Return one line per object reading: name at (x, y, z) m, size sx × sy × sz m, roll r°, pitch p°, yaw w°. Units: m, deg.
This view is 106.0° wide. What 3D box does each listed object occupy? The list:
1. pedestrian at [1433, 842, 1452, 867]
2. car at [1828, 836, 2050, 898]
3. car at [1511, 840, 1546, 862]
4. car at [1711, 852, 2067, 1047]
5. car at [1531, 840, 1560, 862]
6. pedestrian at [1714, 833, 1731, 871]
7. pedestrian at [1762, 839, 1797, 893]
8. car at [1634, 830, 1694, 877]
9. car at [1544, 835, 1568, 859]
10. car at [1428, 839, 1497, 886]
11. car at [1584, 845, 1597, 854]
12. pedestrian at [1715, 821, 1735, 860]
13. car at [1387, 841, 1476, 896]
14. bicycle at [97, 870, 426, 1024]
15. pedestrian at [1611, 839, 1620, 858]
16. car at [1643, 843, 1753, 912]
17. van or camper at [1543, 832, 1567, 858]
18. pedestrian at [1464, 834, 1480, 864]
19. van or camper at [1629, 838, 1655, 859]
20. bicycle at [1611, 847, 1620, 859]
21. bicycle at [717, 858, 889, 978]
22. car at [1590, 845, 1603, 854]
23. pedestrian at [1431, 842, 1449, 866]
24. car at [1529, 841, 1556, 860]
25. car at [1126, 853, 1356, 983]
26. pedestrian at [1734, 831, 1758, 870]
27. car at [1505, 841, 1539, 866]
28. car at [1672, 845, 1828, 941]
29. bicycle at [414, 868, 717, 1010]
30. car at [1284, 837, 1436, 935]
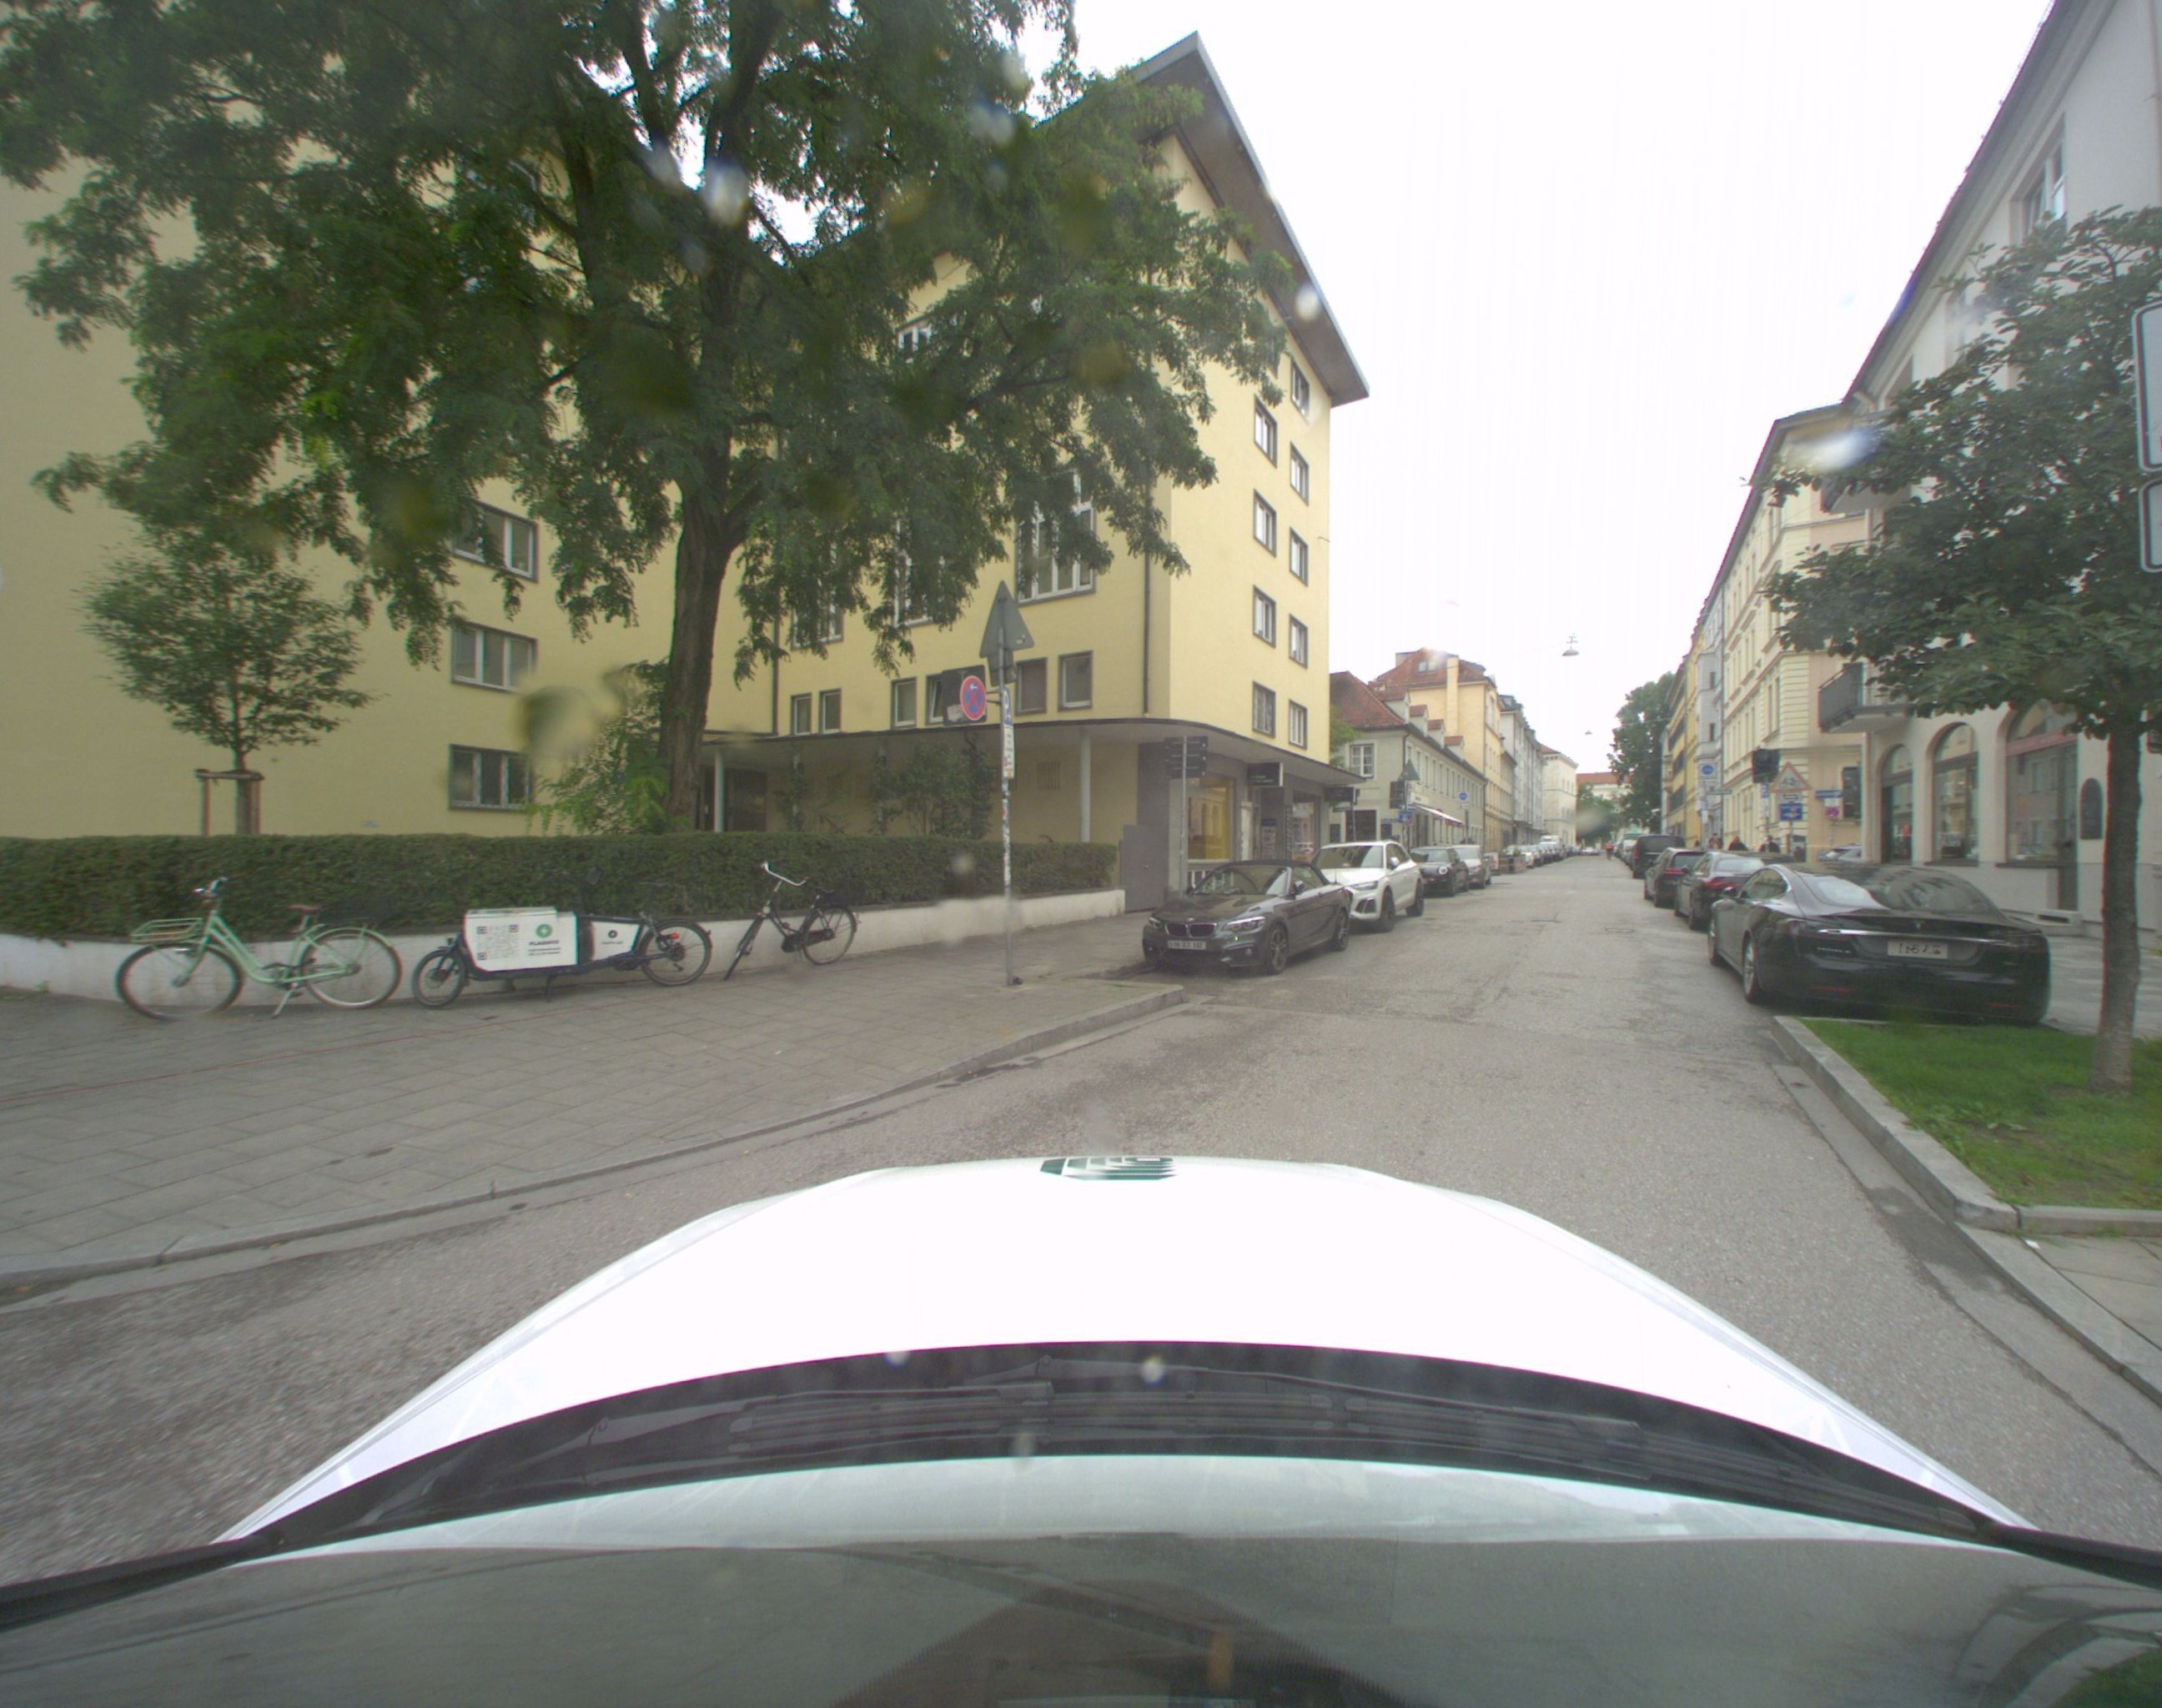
pedestrian at (19.592, 0.032, 44.137) m, size 0.795 × 1.290 × 0.698 m, roll 0°, pitch -1°, yaw 33°
car at (24.335, 0.322, 23.341) m, size 4.049 × 1.605 × 1.766 m, roll 0°, pitch 2°, yaw 31°
car at (29.931, -0.223, 54.382) m, size 1.781 × 1.339 × 4.715 m, roll 1°, pitch 1°, yaw 32°
car at (8.197, 0.739, 8.800) m, size 1.785 × 1.410 × 4.686 m, roll 1°, pitch 2°, yaw 33°
car at (33.650, -0.236, 58.934) m, size 1.738 × 1.496 × 4.227 m, roll 1°, pitch 1°, yaw 30°
pedestrian at (27.840, -0.070, 35.340) m, size 0.467 × 1.625 × 1.076 m, roll 0°, pitch -1°, yaw 32°
pedestrian at (22.954, 0.384, 26.770) m, size 0.712 × 1.717 × 1.010 m, roll 0°, pitch -1°, yaw 32°
car at (25.143, -0.055, 35.251) m, size 1.978 × 1.864 × 5.286 m, roll 1°, pitch 1°, yaw 34°
car at (41.813, -0.616, 71.788) m, size 1.738 × 1.995 × 4.654 m, roll 1°, pitch 1°, yaw 29°
car at (13.229, 0.245, 28.096) m, size 1.663 × 1.471 × 4.981 m, roll -1°, pitch 0°, yaw 30°
car at (87.600, -0.809, 140.045) m, size 1.690 × 1.581 × 3.887 m, roll -1°, pitch 0°, yaw 36°
pedestrian at (33.831, -0.704, 42.803) m, size 0.663 × 1.981 × 0.713 m, roll -4°, pitch -3°, yaw 34°
car at (10.482, 0.375, 24.209) m, size 1.663 × 1.471 × 4.123 m, roll -1°, pitch 0°, yaw 34°
bicycle at (-6.781, 0.744, 6.831) m, size 1.944 × 1.156 × 0.582 m, roll -1°, pitch 2°, yaw -8°
pedestrian at (48.382, -0.480, 73.723) m, size 0.636 × 1.714 × 0.848 m, roll 0°, pitch -1°, yaw 33°
car at (15.096, 0.483, 20.118) m, size 1.660 × 1.424 × 4.230 m, roll 3°, pitch 3°, yaw 31°
van or camper at (44.532, -0.844, 76.420) m, size 1.738 × 2.281 × 5.306 m, roll 1°, pitch 1°, yaw 32°
pedestrian at (25.134, -0.302, 52.377) m, size 0.814 × 1.898 × 0.833 m, roll 0°, pitch -1°, yaw 32°
van or camper at (50.354, -0.494, 73.121) m, size 1.816 × 1.871 × 5.111 m, roll 1°, pitch 1°, yaw 33°
bicycle at (48.370, -0.094, 73.672) m, size 0.669 × 1.095 × 1.771 m, roll 0°, pitch -1°, yaw 33°
bicycle at (-3.110, 0.661, 9.294) m, size 0.556 × 1.210 × 1.866 m, roll 1°, pitch 1°, yaw 35°
car at (91.665, -0.731, 144.762) m, size 1.690 × 1.581 × 3.887 m, roll -1°, pitch 0°, yaw 36°
pedestrian at (19.174, 0.019, 43.515) m, size 0.795 × 1.290 × 0.698 m, roll 0°, pitch -1°, yaw 33°
car at (36.030, -0.306, 63.600) m, size 1.799 × 1.441 × 4.157 m, roll -1°, pitch 0°, yaw 29°
car at (2.429, 0.743, 11.474) m, size 1.728 × 1.410 × 4.124 m, roll -1°, pitch 0°, yaw 33°
pedestrian at (28.507, -0.137, 34.926) m, size 0.652 × 1.620 × 0.986 m, roll 0°, pitch -1°, yaw 32°
car at (27.087, -0.038, 49.963) m, size 1.738 × 1.475 × 3.737 m, roll 1°, pitch 1°, yaw 30°
car at (12.402, 0.592, 15.377) m, size 1.630 × 1.424 × 4.538 m, roll 3°, pitch 3°, yaw 32°
bicycle at (-4.686, 0.720, 7.590) m, size 2.306 × 1.126 × 0.577 m, roll 0°, pitch 2°, yaw -33°
car at (5.622, 0.516, 16.040) m, size 1.785 × 1.584 × 4.366 m, roll -1°, pitch 1°, yaw 33°
